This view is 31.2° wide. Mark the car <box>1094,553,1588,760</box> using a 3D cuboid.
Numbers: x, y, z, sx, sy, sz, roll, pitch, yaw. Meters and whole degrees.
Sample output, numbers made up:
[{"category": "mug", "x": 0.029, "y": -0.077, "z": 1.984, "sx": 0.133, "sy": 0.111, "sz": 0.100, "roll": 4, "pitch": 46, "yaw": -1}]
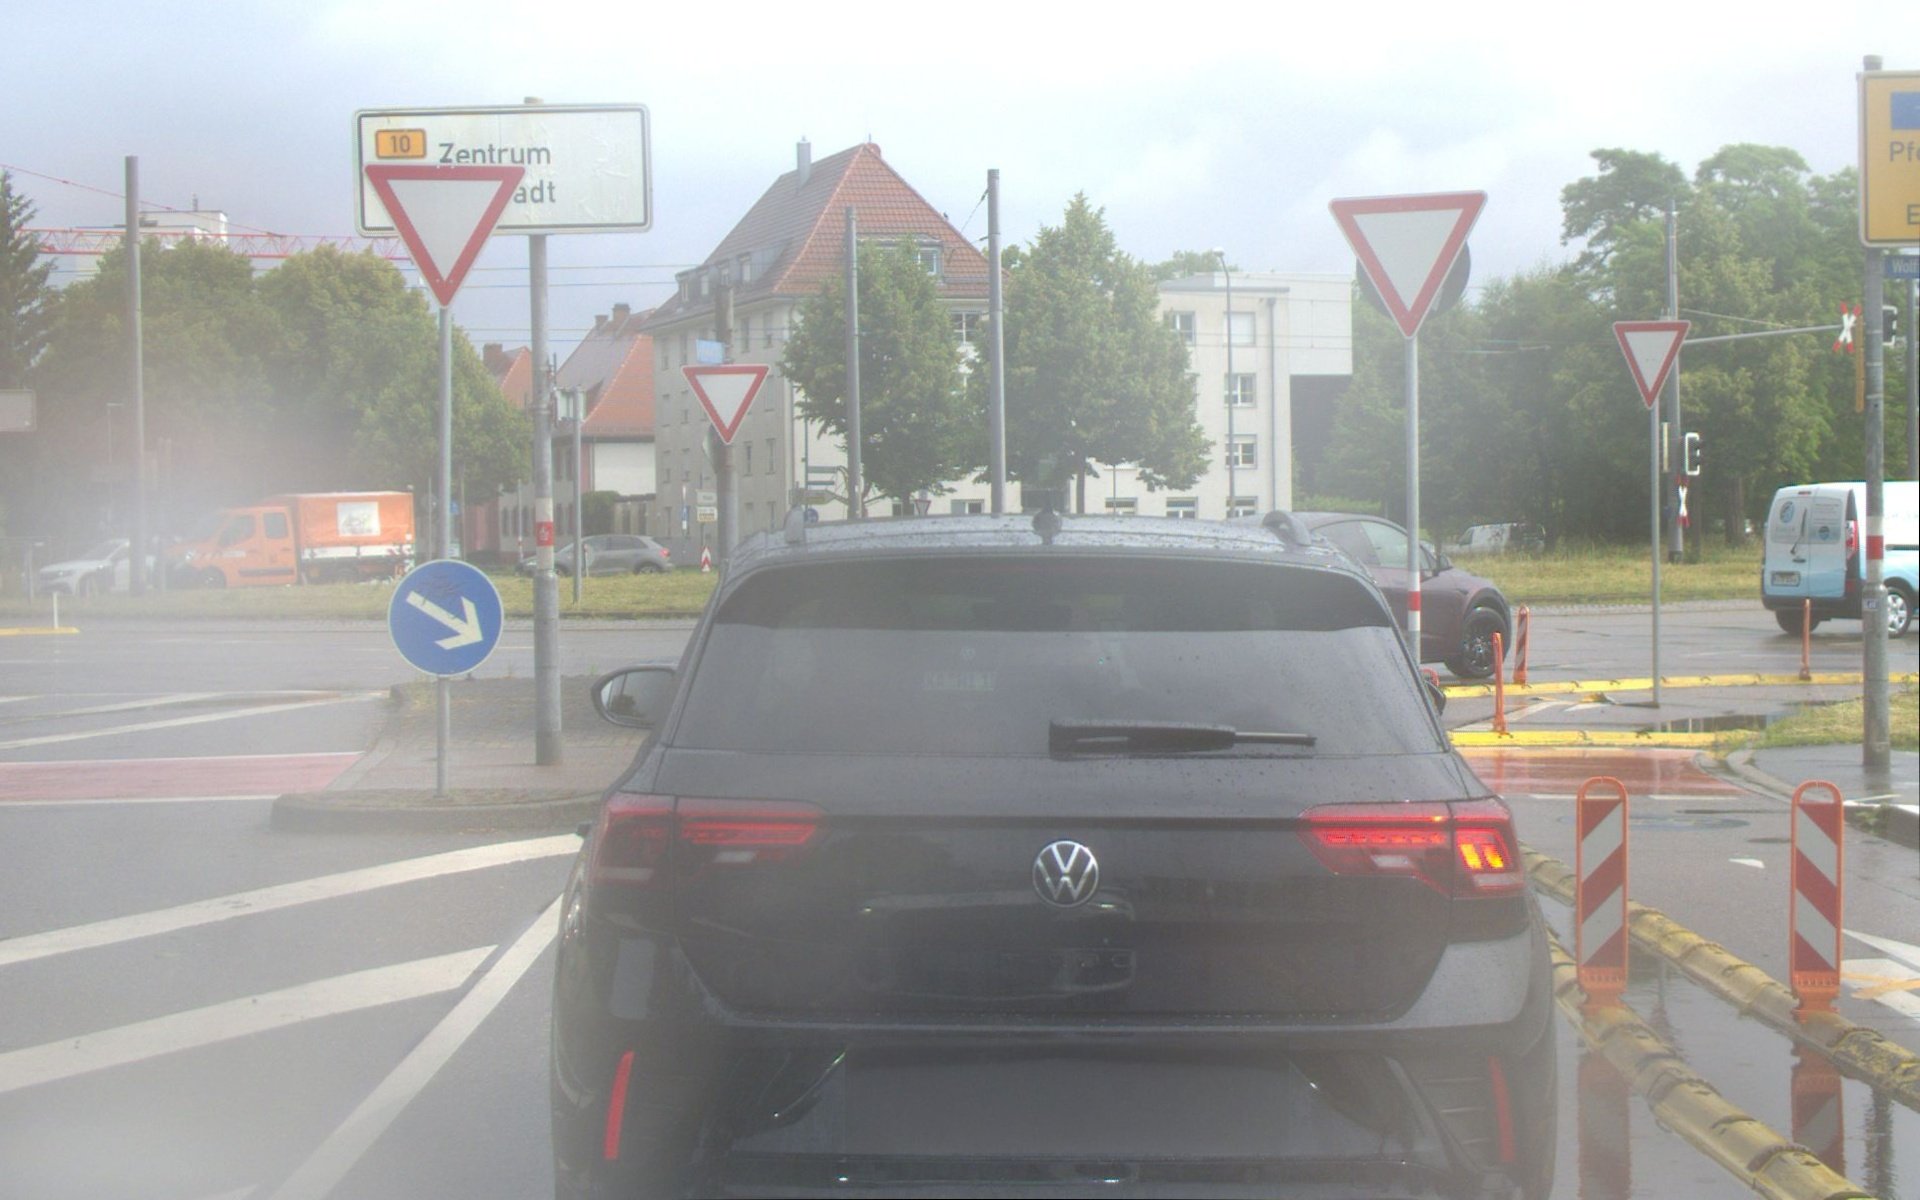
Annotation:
[{"category": "car", "x": 3.570, "y": 0.465, "z": 31.869, "sx": 4.343, "sy": 1.719, "sz": 2.000, "roll": -2, "pitch": 2, "yaw": -37}]

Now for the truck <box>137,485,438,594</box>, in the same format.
[{"category": "truck", "x": -16.779, "y": -1.541, "z": 86.033, "sx": 7.068, "sy": 2.641, "sz": 2.329, "roll": -1, "pitch": 2, "yaw": -37}]

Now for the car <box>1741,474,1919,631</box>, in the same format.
[{"category": "car", "x": 11.729, "y": -0.600, "z": 41.288, "sx": 4.388, "sy": 1.803, "sz": 1.870, "roll": -1, "pitch": 1, "yaw": -27}]

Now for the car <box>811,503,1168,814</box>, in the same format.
[{"category": "car", "x": 0.080, "y": 0.244, "z": 18.570, "sx": 1.735, "sy": 1.509, "sz": 3.604, "roll": 0, "pitch": 1, "yaw": -2}]

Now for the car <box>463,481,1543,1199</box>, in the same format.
[{"category": "car", "x": -0.027, "y": 0.572, "z": 7.285, "sx": 1.708, "sy": 1.568, "sz": 3.683, "roll": 0, "pitch": 1, "yaw": -3}]

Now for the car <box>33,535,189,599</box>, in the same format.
[{"category": "car", "x": -21.458, "y": -0.848, "z": 86.925, "sx": 3.496, "sy": 1.579, "sz": 1.567, "roll": -1, "pitch": 2, "yaw": -39}]

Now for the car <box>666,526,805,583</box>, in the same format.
[{"category": "car", "x": -6.377, "y": -1.307, "z": 97.583, "sx": 3.871, "sy": 1.579, "sz": 1.567, "roll": 0, "pitch": 1, "yaw": -5}]
